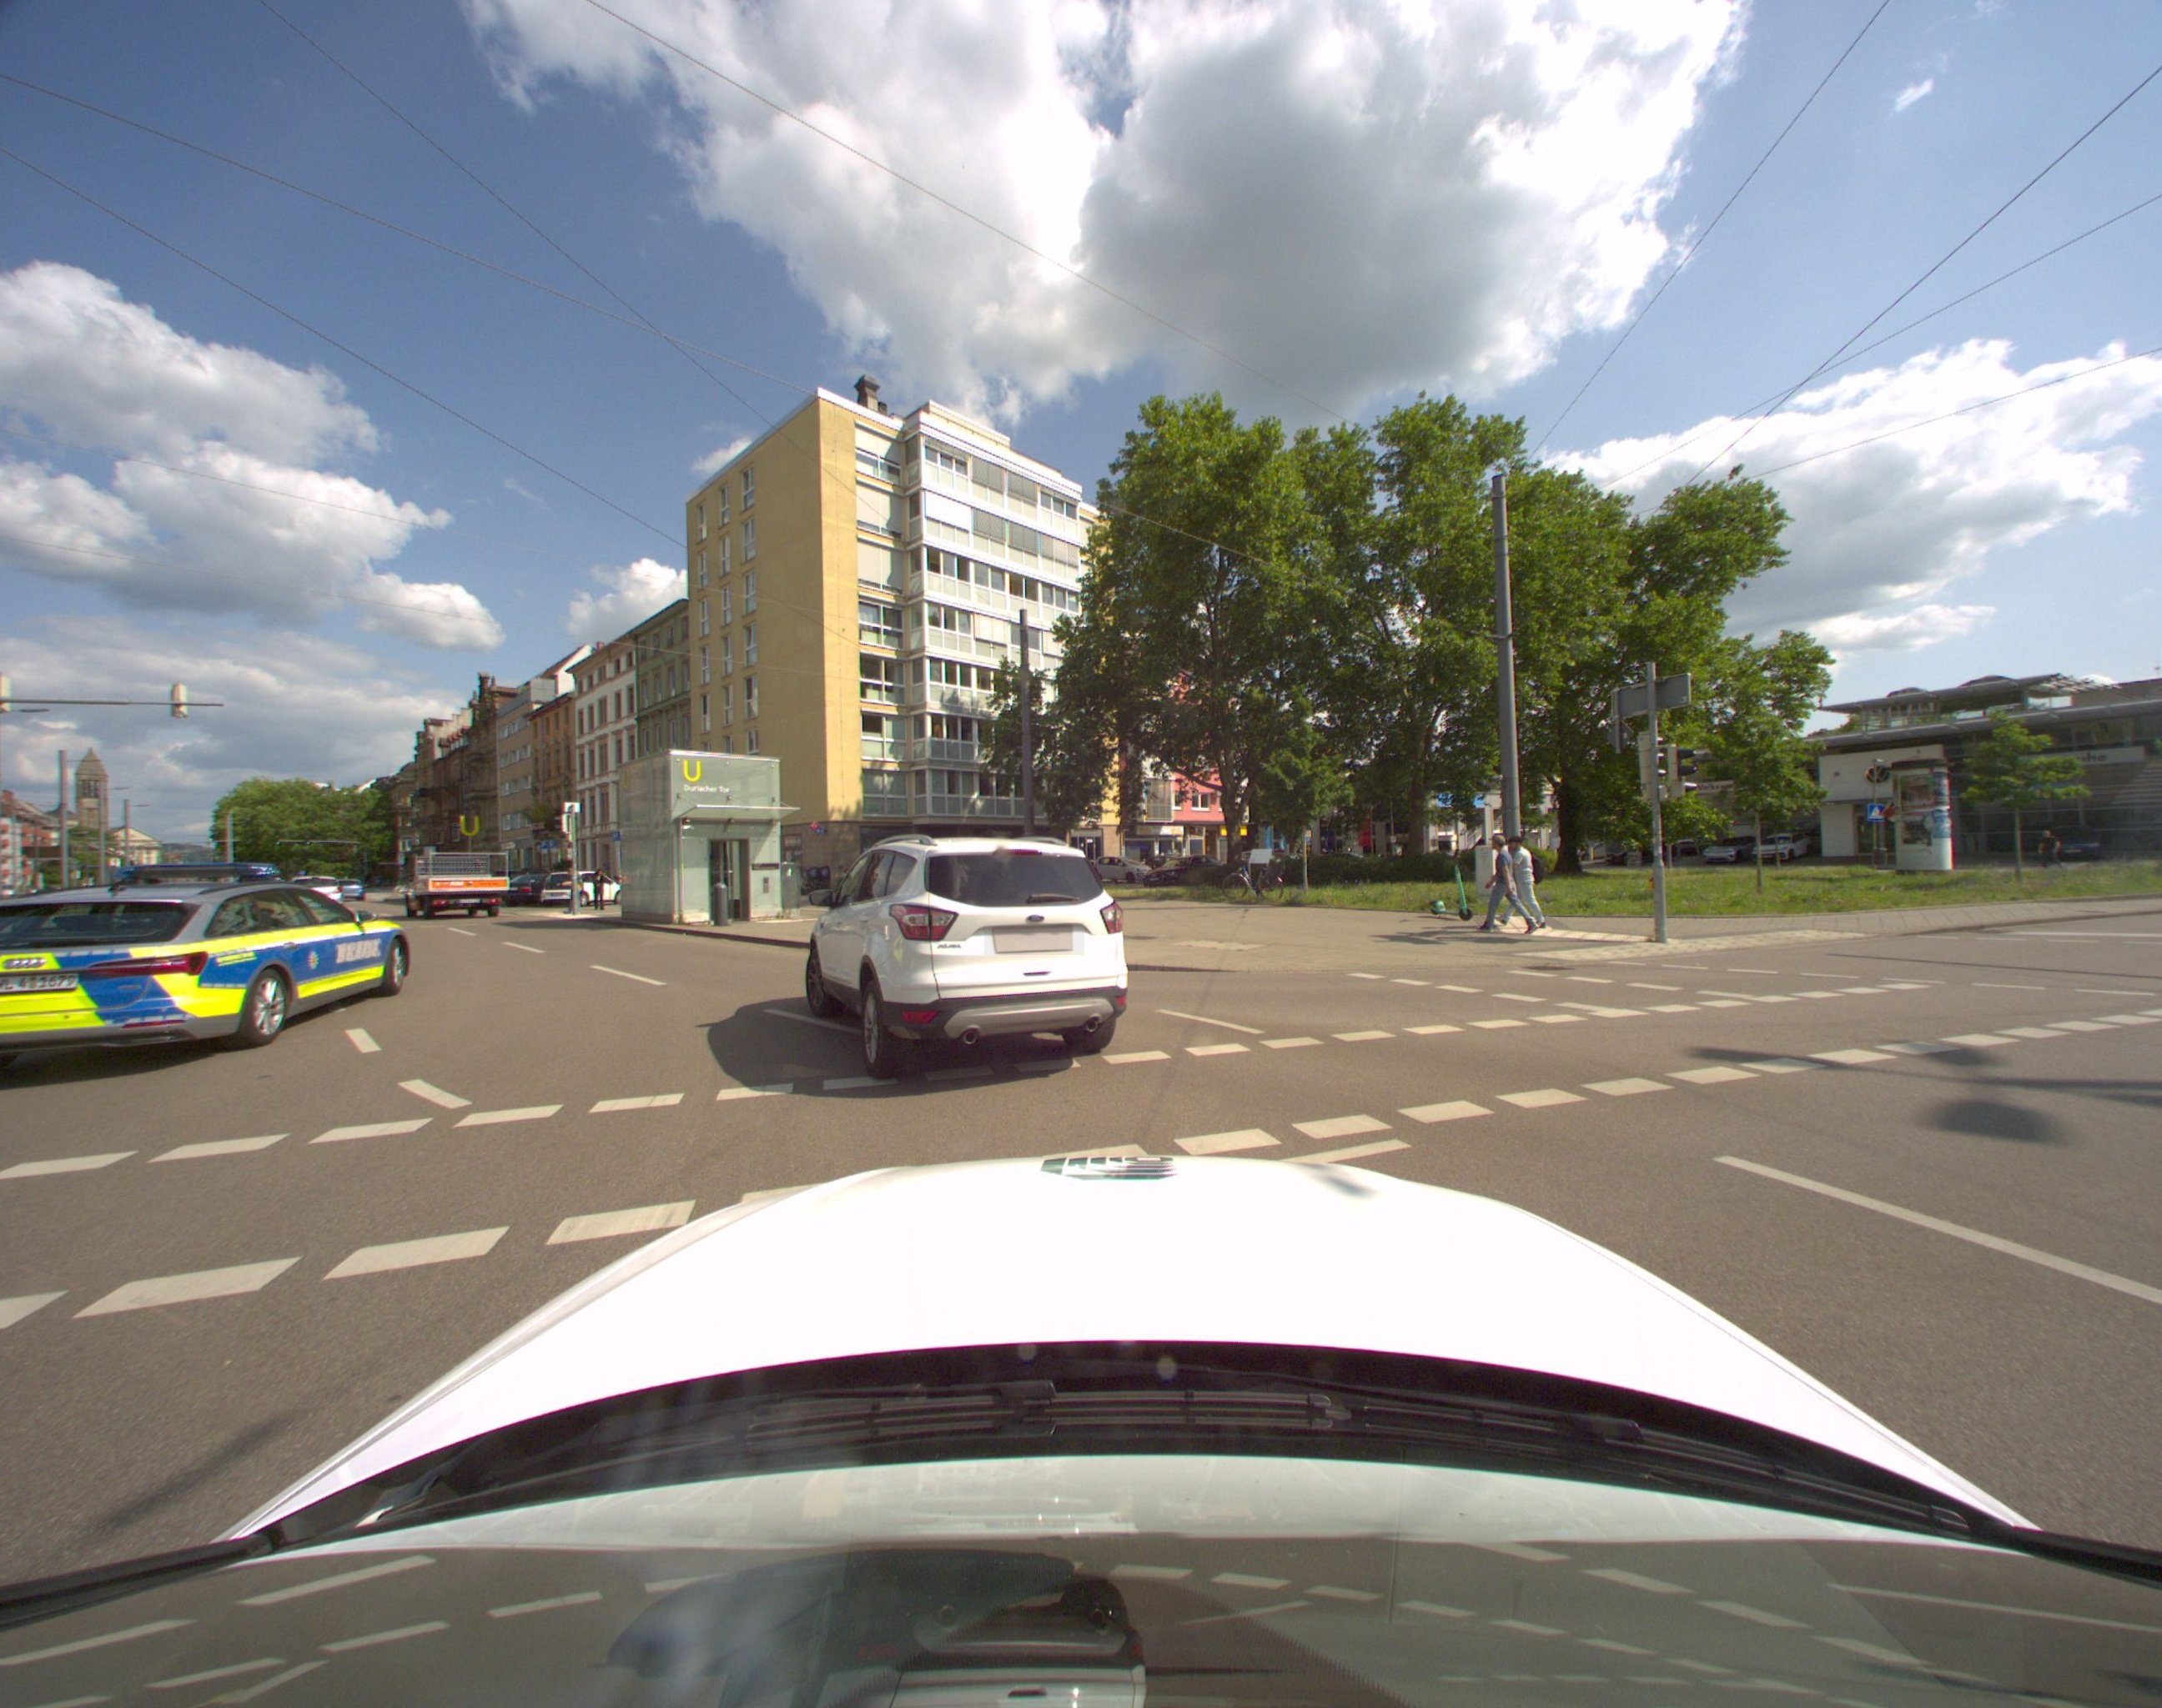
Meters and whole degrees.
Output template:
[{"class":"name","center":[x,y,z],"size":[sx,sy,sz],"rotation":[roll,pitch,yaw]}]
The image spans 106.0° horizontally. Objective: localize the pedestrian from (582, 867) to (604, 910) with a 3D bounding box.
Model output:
[{"class":"pedestrian","center":[-18.058,1.275,30.145],"size":[0.559,1.534,0.691],"rotation":[-1,-2,-43]}]

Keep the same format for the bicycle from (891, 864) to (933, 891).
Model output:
[{"class":"bicycle","center":[-7.431,1.037,35.784],"size":[1.786,1.147,0.802],"rotation":[-1,0,38]}]

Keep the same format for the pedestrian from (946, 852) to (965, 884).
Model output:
[{"class":"pedestrian","center":[-6.372,0.710,41.348],"size":[0.859,1.607,0.827],"rotation":[0,1,-16]}]

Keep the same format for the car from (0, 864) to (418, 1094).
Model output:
[{"class":"car","center":[-8.433,0.913,7.861],"size":[1.888,1.568,4.580],"rotation":[-1,0,-23]}]

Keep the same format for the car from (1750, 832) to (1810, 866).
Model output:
[{"class":"car","center":[43.769,-0.306,50.984],"size":[4.251,2.014,1.977],"rotation":[0,-2,-38]}]

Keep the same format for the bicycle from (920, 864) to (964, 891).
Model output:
[{"class":"bicycle","center":[-6.204,1.041,36.298],"size":[1.924,1.147,0.802],"rotation":[-1,0,38]}]

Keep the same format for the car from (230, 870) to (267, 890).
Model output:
[{"class":"car","center":[-72.693,2.270,71.179],"size":[2.058,1.578,4.484],"rotation":[-1,1,-43]}]

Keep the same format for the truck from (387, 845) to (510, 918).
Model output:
[{"class":"truck","center":[-20.908,0.851,26.813],"size":[5.778,2.155,2.360],"rotation":[-1,0,44]}]

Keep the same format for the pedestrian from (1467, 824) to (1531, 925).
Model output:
[{"class":"pedestrian","center":[7.419,0.338,14.460],"size":[0.915,1.743,0.593],"rotation":[1,1,35]}]

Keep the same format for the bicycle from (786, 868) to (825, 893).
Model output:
[{"class":"bicycle","center":[-12.534,1.181,37.034],"size":[1.786,1.104,0.802],"rotation":[-1,0,37]}]

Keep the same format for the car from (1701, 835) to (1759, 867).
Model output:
[{"class":"car","center":[42.542,-0.193,53.340],"size":[4.251,1.937,1.951],"rotation":[0,-2,-38]}]

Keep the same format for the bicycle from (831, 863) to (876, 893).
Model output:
[{"class":"bicycle","center":[-10.412,1.080,37.256],"size":[1.818,1.258,0.788],"rotation":[-1,0,-38]}]

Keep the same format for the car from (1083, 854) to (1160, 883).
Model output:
[{"class":"car","center":[2.232,0.801,45.121],"size":[3.949,1.495,1.814],"rotation":[-1,0,41]}]

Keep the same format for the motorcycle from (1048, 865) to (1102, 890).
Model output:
[{"class":"motorcycle","center":[-0.229,0.932,32.485],"size":[2.029,0.917,0.812],"rotation":[-2,0,3]}]

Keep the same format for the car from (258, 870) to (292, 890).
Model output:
[{"class":"car","center":[-61.004,1.975,61.624],"size":[3.950,1.376,1.753],"rotation":[0,0,44]}]

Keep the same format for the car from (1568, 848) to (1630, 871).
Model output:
[{"class":"car","center":[42.895,0.486,67.556],"size":[1.845,1.790,3.966],"rotation":[-1,-1,-25]}]

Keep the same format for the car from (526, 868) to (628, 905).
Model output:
[{"class":"car","center":[-21.473,1.348,34.892],"size":[1.887,1.496,3.901],"rotation":[0,-1,1]}]

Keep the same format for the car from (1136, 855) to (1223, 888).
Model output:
[{"class":"car","center":[4.540,0.792,37.303],"size":[1.888,1.413,4.023],"rotation":[-2,-2,44]}]

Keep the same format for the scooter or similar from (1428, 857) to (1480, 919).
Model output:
[{"class":"scooter or similar","center":[7.612,0.669,16.674],"size":[0.398,1.193,1.172],"rotation":[0,1,-8]}]

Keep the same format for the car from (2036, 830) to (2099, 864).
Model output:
[{"class":"car","center":[48.784,-0.320,40.255],"size":[3.935,1.534,1.803],"rotation":[0,-2,-38]}]

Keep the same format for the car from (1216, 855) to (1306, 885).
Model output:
[{"class":"car","center":[8.199,0.749,37.463],"size":[1.640,1.327,3.956],"rotation":[0,-2,-35]}]

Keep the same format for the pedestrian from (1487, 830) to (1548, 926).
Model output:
[{"class":"pedestrian","center":[8.183,0.424,15.272],"size":[0.915,1.743,0.593],"rotation":[1,1,37]}]

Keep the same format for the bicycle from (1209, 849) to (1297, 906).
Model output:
[{"class":"bicycle","center":[4.543,0.595,21.633],"size":[2.147,1.414,0.817],"rotation":[0,1,41]}]

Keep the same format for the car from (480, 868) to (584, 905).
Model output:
[{"class":"car","center":[-23.917,1.379,35.678],"size":[1.887,1.496,3.899],"rotation":[0,-1,0]}]

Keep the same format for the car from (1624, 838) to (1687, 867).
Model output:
[{"class":"car","center":[40.722,-0.077,57.702],"size":[5.089,1.937,1.953],"rotation":[0,-2,-35]}]

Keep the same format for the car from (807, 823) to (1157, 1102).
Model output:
[{"class":"car","center":[-1.153,0.680,7.051],"size":[1.836,1.664,3.922],"rotation":[-1,-1,-25]}]

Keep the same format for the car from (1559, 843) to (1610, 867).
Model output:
[{"class":"car","center":[39.681,0.114,64.304],"size":[1.827,1.790,4.006],"rotation":[-1,-1,5]}]

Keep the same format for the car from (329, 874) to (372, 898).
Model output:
[{"class":"car","center":[-47.156,2.037,52.544],"size":[3.950,1.376,1.753],"rotation":[0,0,44]}]

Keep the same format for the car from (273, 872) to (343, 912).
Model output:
[{"class":"car","center":[-31.606,1.507,33.262],"size":[3.949,1.474,1.865],"rotation":[-2,0,43]}]
